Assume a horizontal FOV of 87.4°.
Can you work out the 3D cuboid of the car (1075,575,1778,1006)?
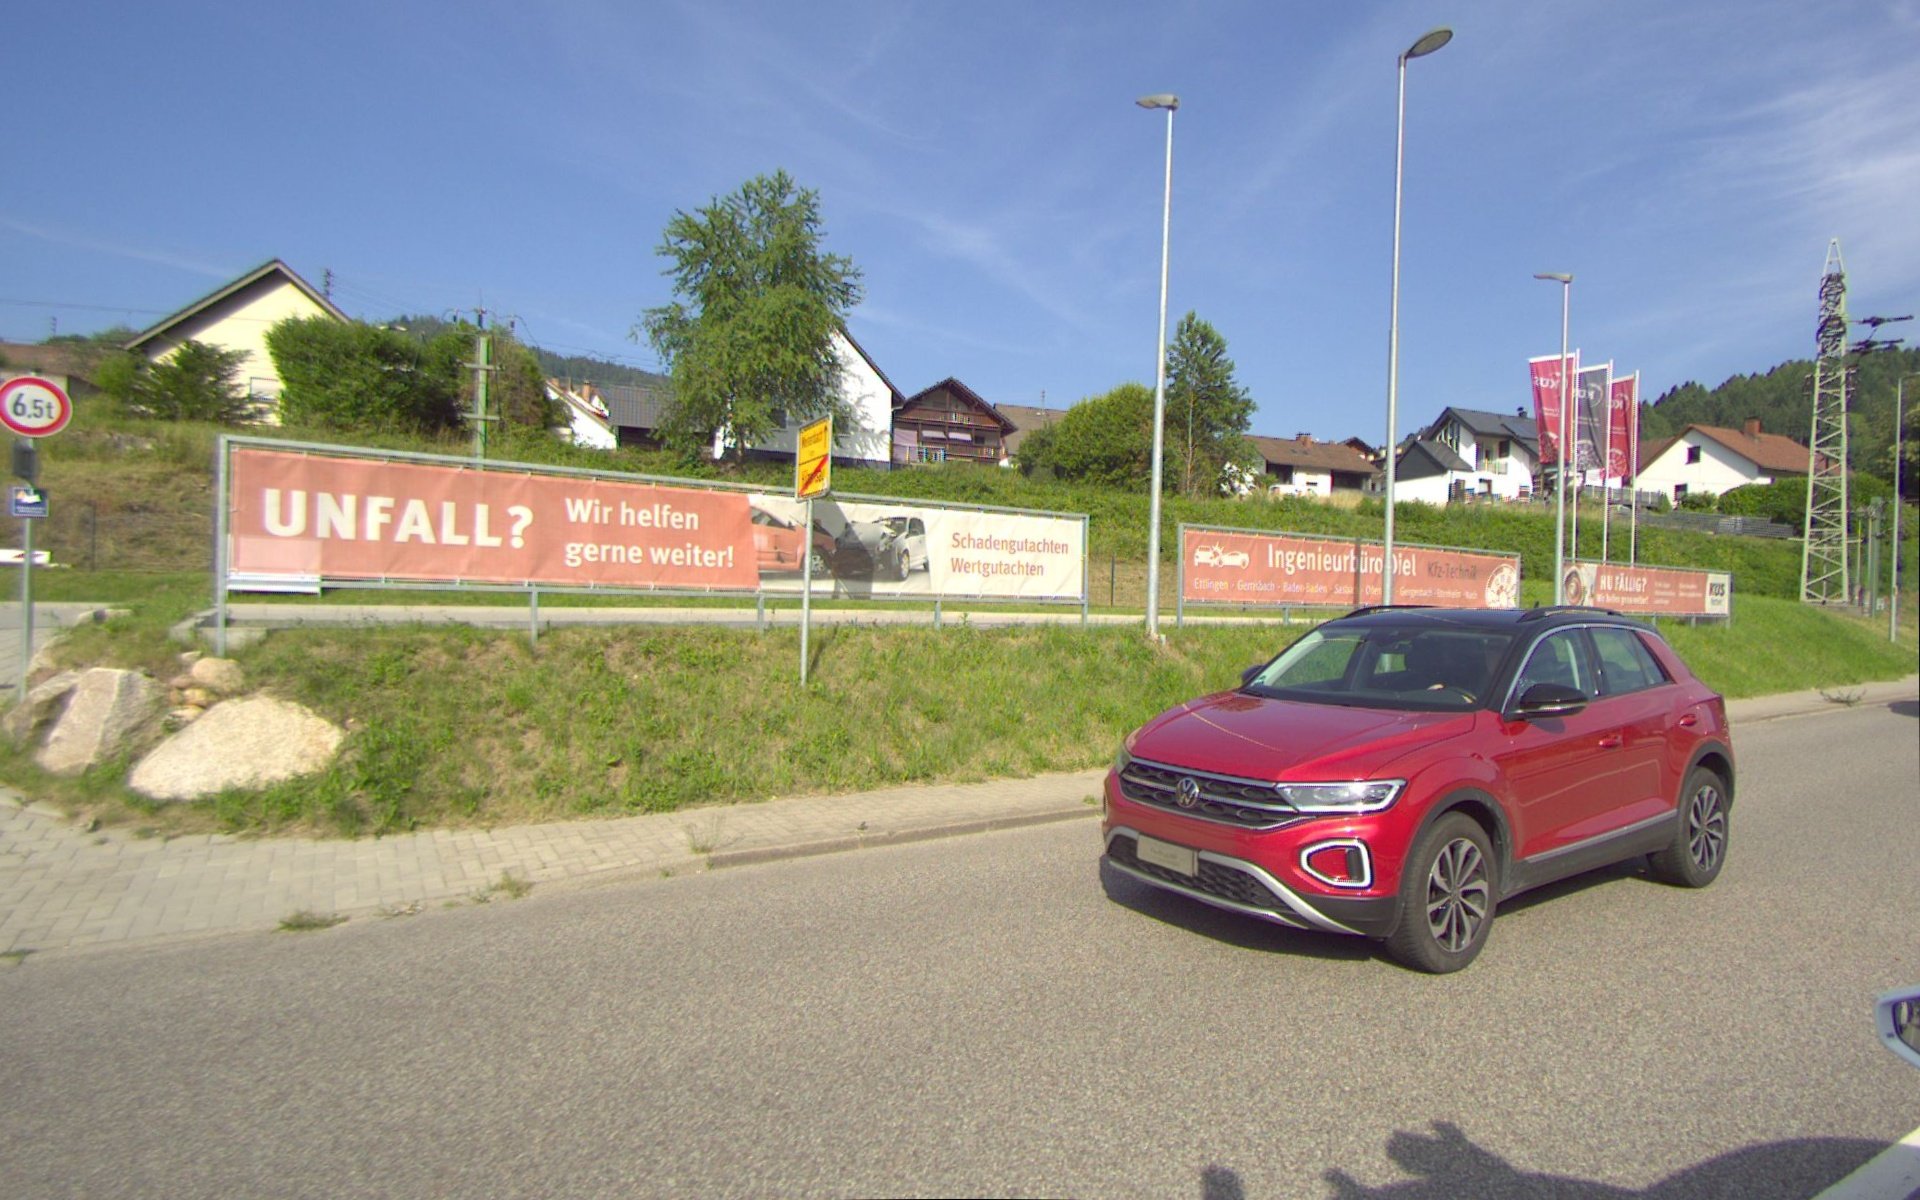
[{"bbox_3d":[2.759,0.762,5.618,4.115,1.605,1.695,1,-2,-34],"label":"car"}]
